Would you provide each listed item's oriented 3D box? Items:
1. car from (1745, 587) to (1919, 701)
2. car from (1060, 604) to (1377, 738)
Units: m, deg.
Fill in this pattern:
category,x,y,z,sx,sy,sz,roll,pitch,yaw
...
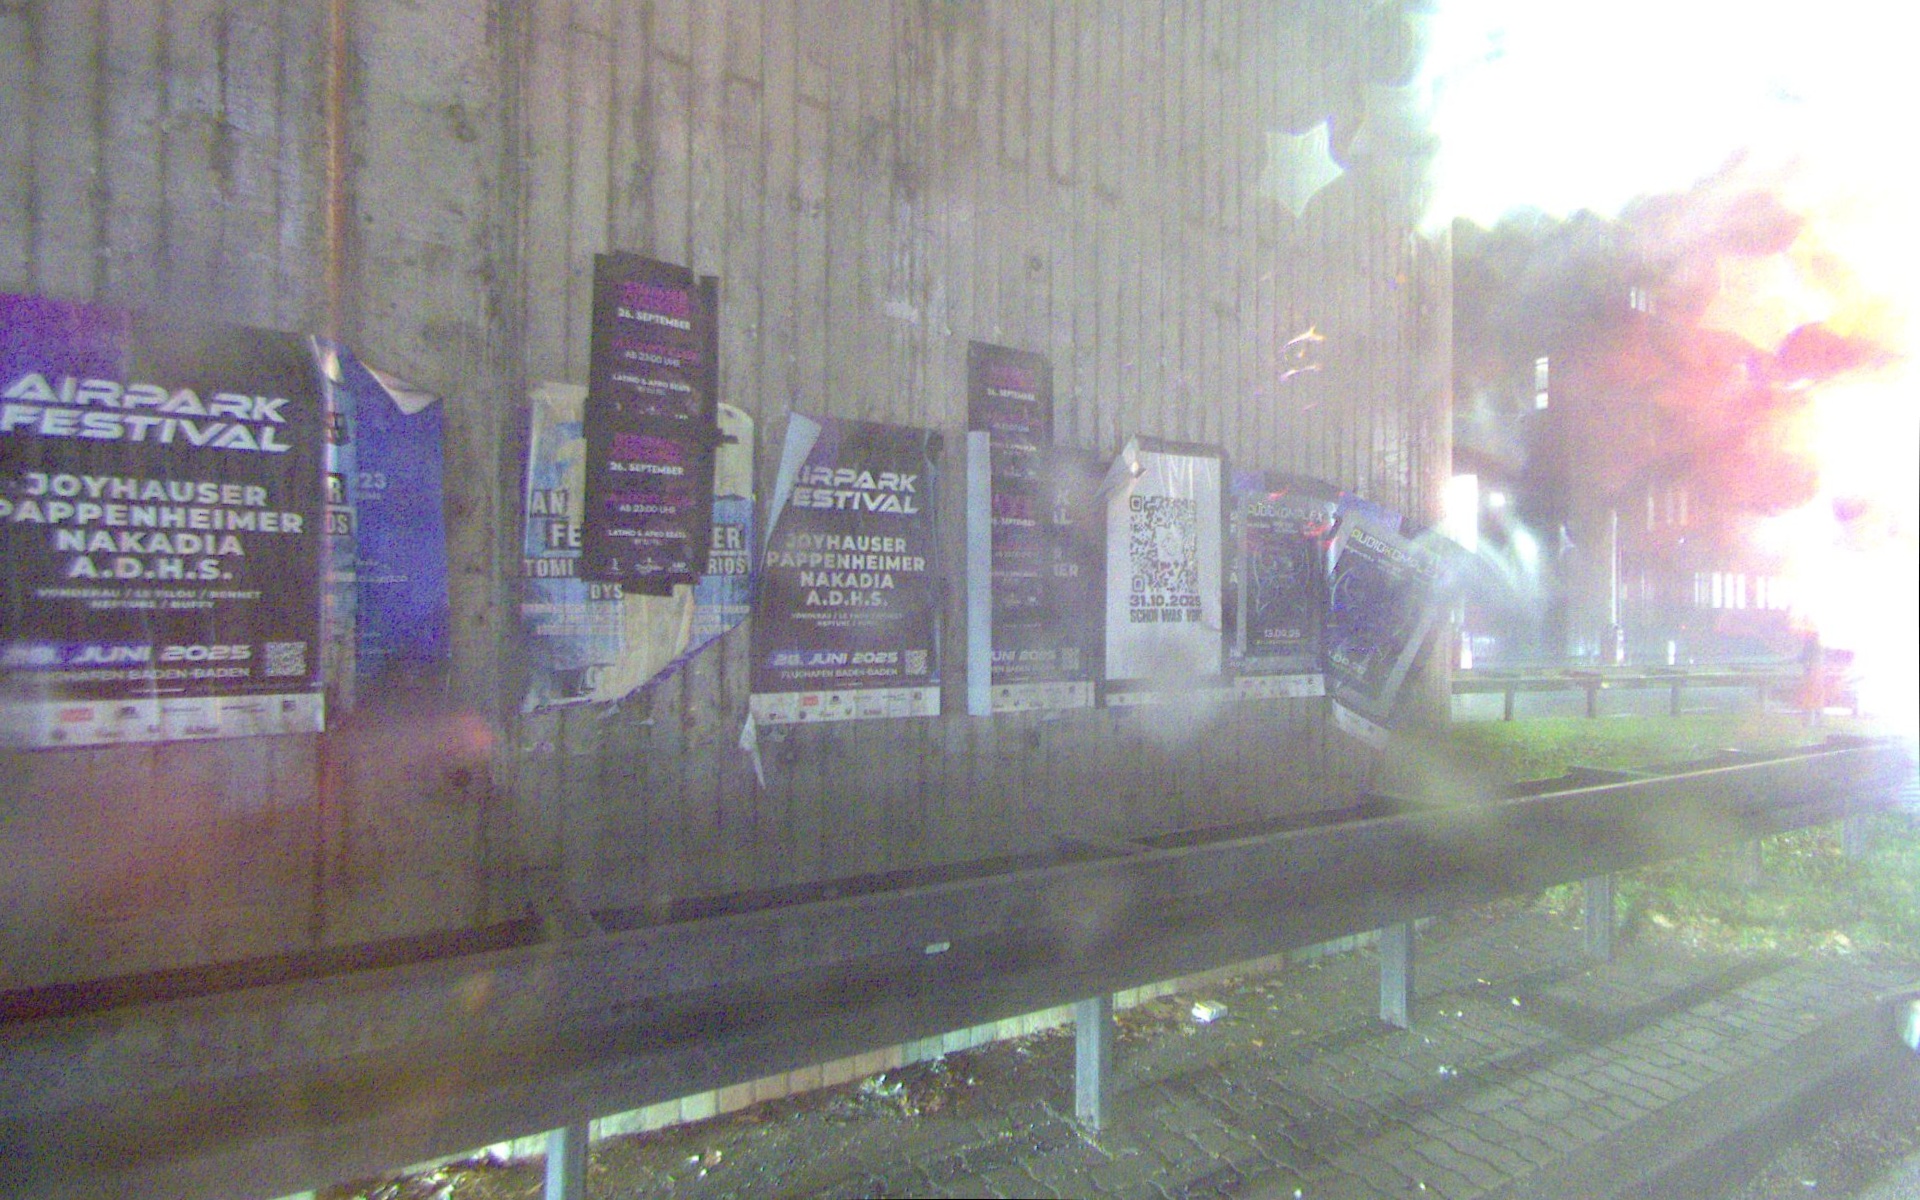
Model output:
category,x,y,z,sx,sy,sz,roll,pitch,yaw
car,16.176,0.756,16.780,4.415,1.773,1.861,2,0,13
car,3.886,1.017,15.095,4.336,1.764,1.899,2,0,-23
